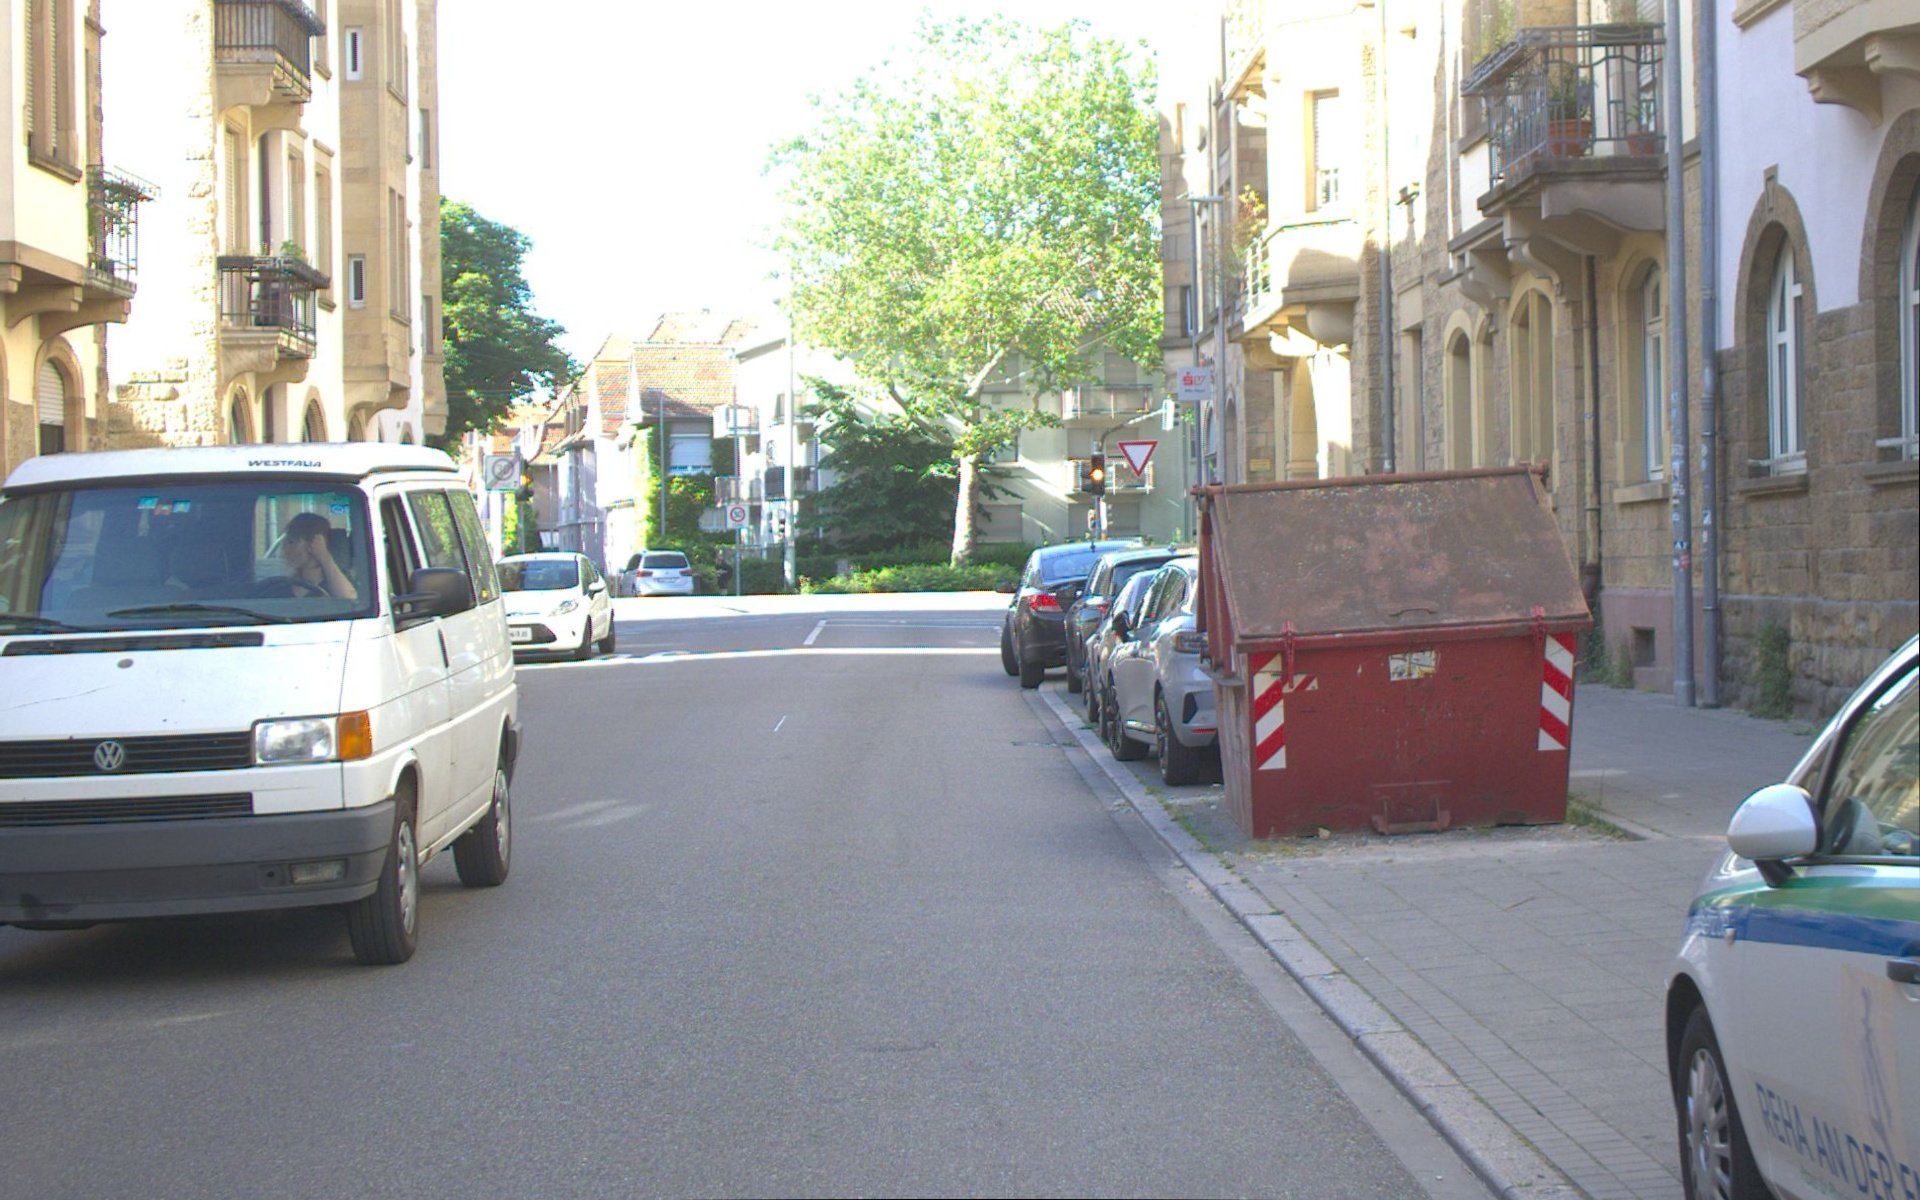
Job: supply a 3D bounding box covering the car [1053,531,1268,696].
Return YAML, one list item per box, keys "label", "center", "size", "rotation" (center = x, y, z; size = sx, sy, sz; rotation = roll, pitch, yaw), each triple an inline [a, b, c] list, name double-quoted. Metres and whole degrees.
- label: "car"
  center: [1.854, 0.080, 32.971]
  size: [1.651, 1.437, 4.259]
  rotation: [-2, 1, -2]

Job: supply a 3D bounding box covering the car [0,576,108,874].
- label: "car"
  center: [-5.424, 0.588, 16.606]
  size: [1.672, 1.388, 3.666]
  rotation: [2, 1, 0]

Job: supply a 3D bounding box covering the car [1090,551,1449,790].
- label: "car"
  center: [1.982, 0.407, 23.053]
  size: [1.786, 1.425, 3.808]
  rotation: [-1, 1, -4]

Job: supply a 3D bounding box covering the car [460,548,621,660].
- label: "car"
  center: [-5.728, 0.030, 47.313]
  size: [1.634, 1.459, 3.734]
  rotation: [-1, 1, 2]

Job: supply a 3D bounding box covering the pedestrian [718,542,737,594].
- label: "pedestrian"
  center: [-7.844, -1.073, 115.951]
  size: [0.633, 1.744, 0.659]
  rotation: [0, 0, -3]

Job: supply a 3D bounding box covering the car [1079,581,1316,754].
- label: "car"
  center: [1.866, 0.511, 27.980]
  size: [1.693, 1.250, 3.941]
  rotation: [2, 0, 1]

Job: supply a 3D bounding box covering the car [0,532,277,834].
- label: "car"
  center: [-5.317, 0.415, 20.726]
  size: [1.714, 1.578, 4.021]
  rotation: [2, 1, -3]

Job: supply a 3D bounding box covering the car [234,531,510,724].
- label: "car"
  center: [-5.747, 0.210, 34.164]
  size: [1.892, 1.716, 4.726]
  rotation: [2, 1, 0]

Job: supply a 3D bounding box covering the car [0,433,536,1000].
- label: "car"
  center: [-2.965, 0.361, 14.102]
  size: [1.863, 1.930, 4.600]
  rotation: [-1, 1, 0]

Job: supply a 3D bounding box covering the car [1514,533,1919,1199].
- label: "car"
  center: [2.157, 0.611, 6.057]
  size: [1.586, 1.459, 3.712]
  rotation: [-1, 1, -3]

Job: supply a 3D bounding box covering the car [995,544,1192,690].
- label: "car"
  center: [1.406, 0.138, 37.695]
  size: [1.865, 1.457, 4.340]
  rotation: [-1, 1, -1]

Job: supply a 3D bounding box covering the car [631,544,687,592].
- label: "car"
  center: [-9.522, -0.997, 108.652]
  size: [1.673, 1.477, 3.522]
  rotation: [0, 0, -6]
